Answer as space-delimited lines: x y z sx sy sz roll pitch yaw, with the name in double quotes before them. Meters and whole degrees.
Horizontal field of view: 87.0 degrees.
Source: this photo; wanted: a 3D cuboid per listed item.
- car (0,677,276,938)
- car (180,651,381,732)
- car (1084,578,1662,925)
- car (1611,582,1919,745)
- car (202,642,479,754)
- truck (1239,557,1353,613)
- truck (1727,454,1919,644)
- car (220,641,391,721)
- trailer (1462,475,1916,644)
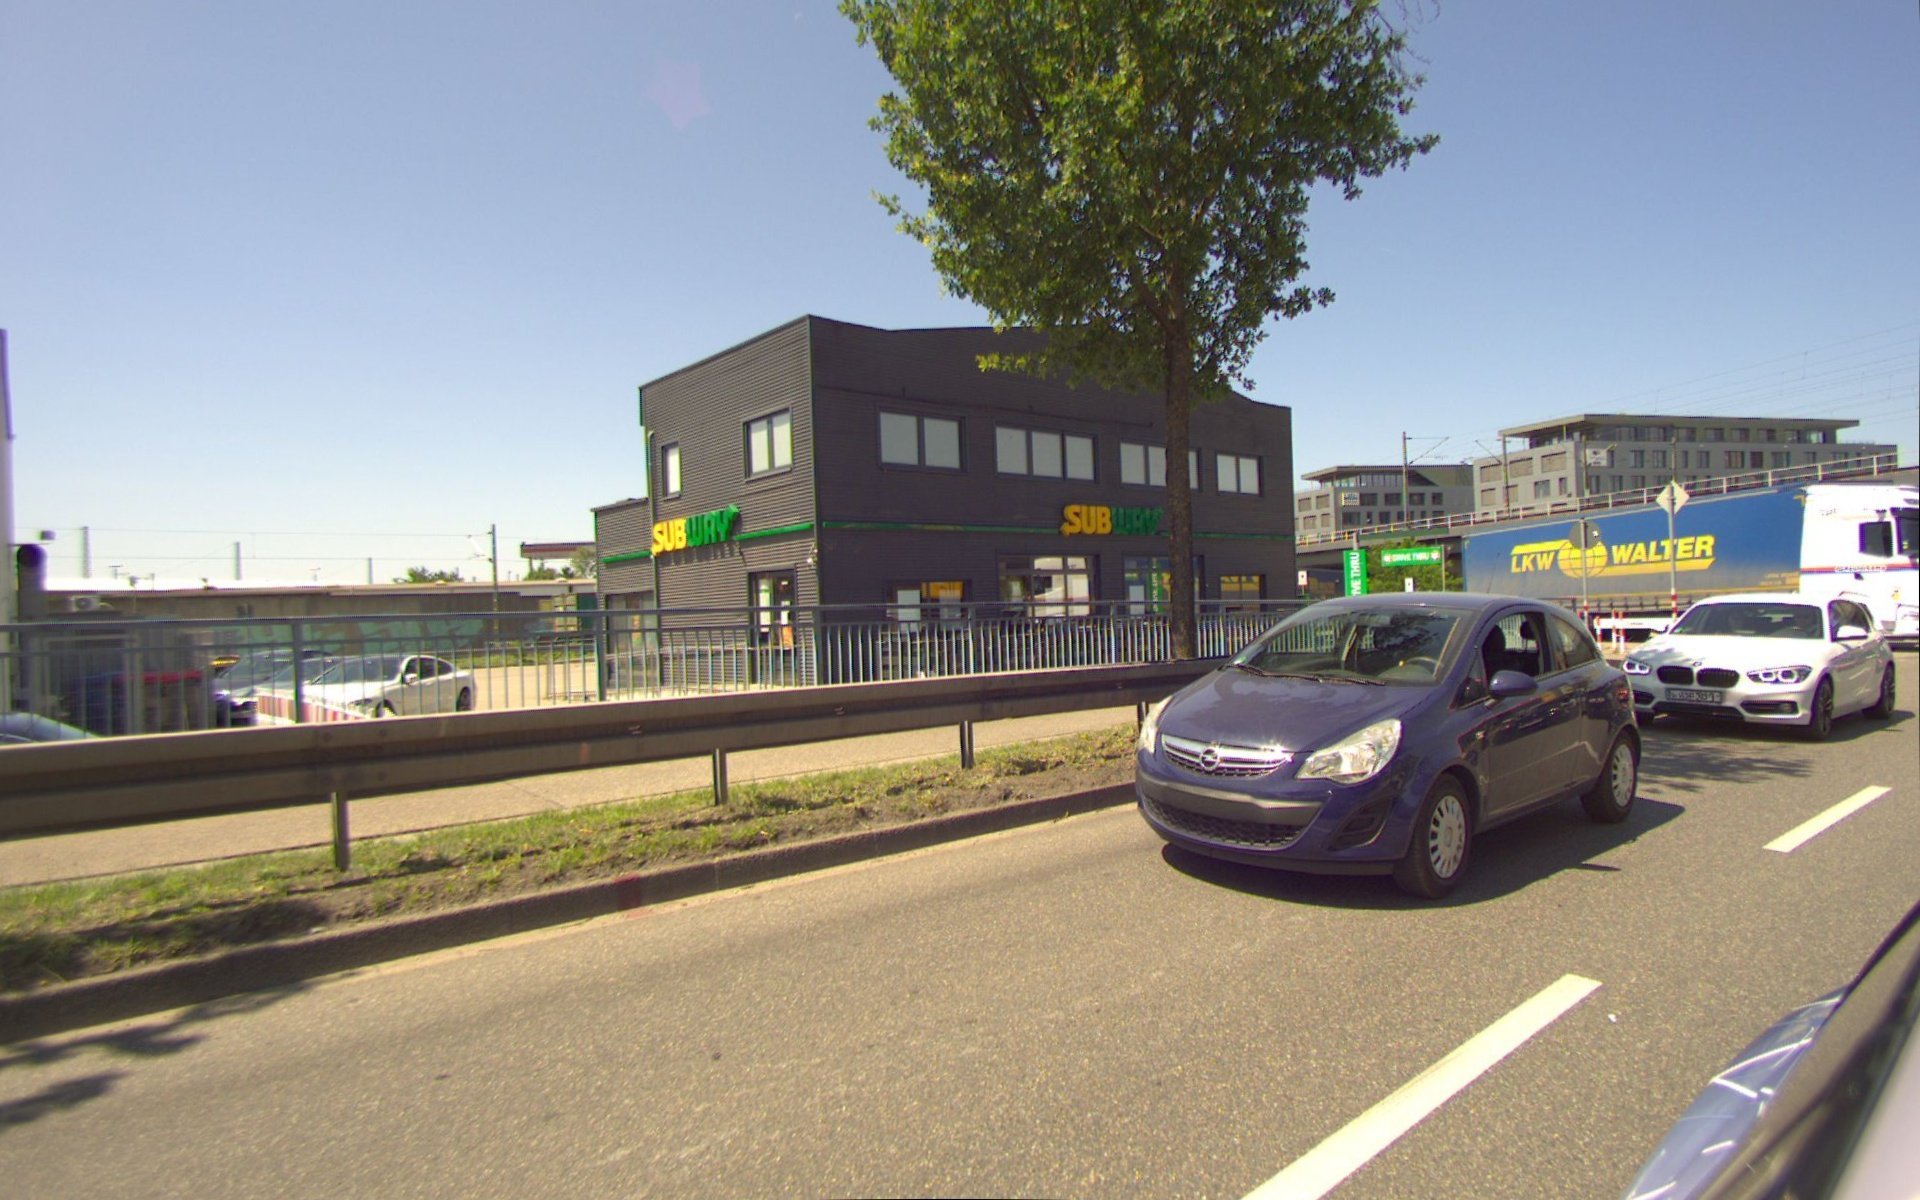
"car" -7.243 1.501 7.142 3.832 1.551 1.635 -2 1 -41
"car" -13.723 1.795 20.696 1.454 1.269 3.608 -1 1 6
"car" 2.670 0.629 6.143 3.822 1.462 1.649 -1 0 -40
"car" 9.041 0.555 11.278 3.978 1.461 1.763 -1 2 -37
"car" -10.554 1.590 17.820 1.961 1.375 5.086 -1 1 -3
"truck" 27.831 -1.307 82.831 2.740 4.154 17.192 -1 1 40
"truck" 22.362 -1.100 24.875 2.528 4.154 5.759 -1 -1 1
"car" -16.339 1.952 25.558 1.624 1.578 4.402 -1 1 -3
"trailer" 21.513 -0.963 31.971 2.449 4.142 13.924 -1 0 -9
